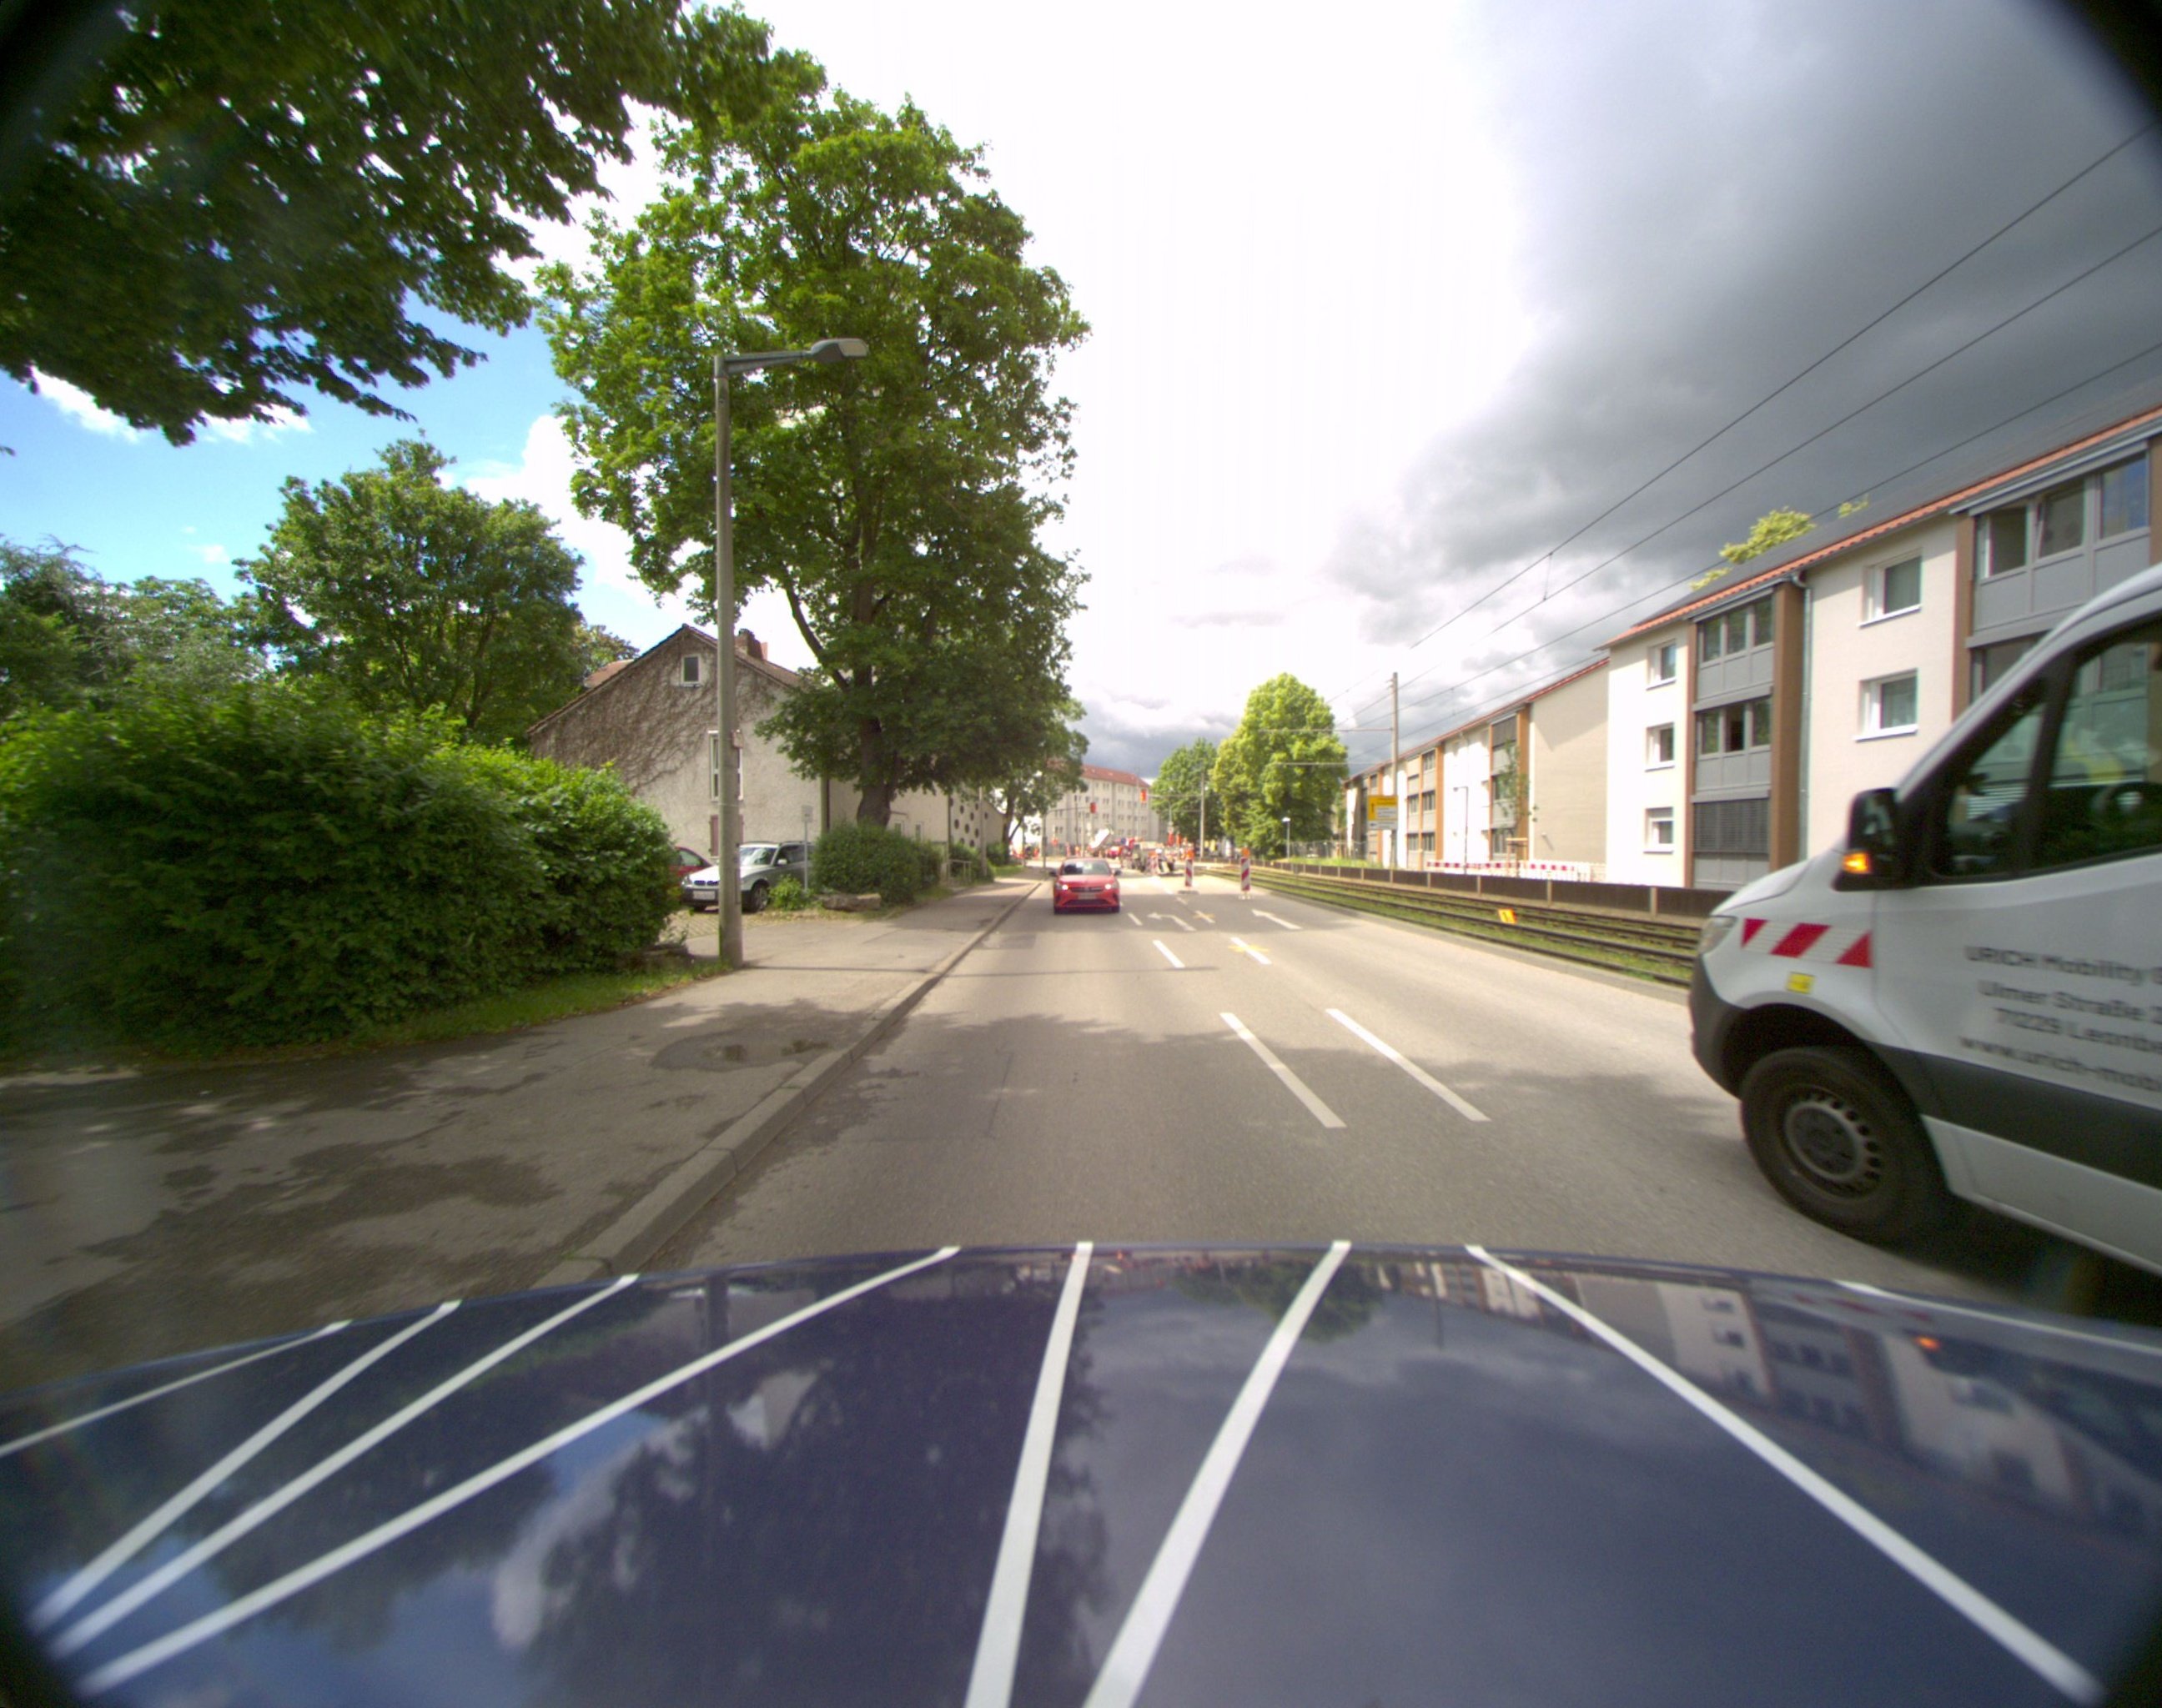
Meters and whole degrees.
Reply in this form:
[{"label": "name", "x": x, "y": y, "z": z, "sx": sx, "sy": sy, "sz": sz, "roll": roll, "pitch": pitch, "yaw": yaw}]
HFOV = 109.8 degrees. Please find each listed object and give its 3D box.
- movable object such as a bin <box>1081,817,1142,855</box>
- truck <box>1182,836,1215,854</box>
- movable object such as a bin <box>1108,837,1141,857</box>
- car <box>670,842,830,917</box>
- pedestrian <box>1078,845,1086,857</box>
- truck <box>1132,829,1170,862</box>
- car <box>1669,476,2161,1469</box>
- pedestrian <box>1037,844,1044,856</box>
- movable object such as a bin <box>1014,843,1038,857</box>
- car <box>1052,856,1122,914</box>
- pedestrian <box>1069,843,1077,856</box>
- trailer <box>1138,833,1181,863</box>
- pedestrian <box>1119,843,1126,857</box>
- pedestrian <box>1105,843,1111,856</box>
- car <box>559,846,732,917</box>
[{"label": "movable object such as a bin", "x": 4.624, "y": -2.561, "z": 112.219, "sx": 9.053, "sy": 5.453, "sz": 2.813, "roll": 0, "pitch": 1, "yaw": -34}, {"label": "truck", "x": 16.359, "y": -1.251, "z": 105.771, "sx": 2.412, "sy": 2.553, "sz": 5.594, "roll": 1, "pitch": 1, "yaw": 32}, {"label": "movable object such as a bin", "x": 6.160, "y": -1.049, "z": 106.859, "sx": 2.110, "sy": 2.654, "sz": 5.598, "roll": 1, "pitch": 2, "yaw": 33}, {"label": "car", "x": -8.099, "y": 0.546, "z": 19.032, "sx": 1.815, "sy": 1.640, "sz": 4.002, "roll": 1, "pitch": 1, "yaw": 9}, {"label": "pedestrian", "x": 0.149, "y": -0.444, "z": 114.878, "sx": 0.872, "sy": 1.813, "sz": 1.098, "roll": 1, "pitch": 1, "yaw": 27}, {"label": "truck", "x": 6.085, "y": -0.733, "z": 66.893, "sx": 2.669, "sy": 2.709, "sz": 6.394, "roll": -1, "pitch": 1, "yaw": -1}, {"label": "car", "x": 3.581, "y": 0.302, "z": 0.260, "sx": 1.998, "sy": 2.417, "sz": 6.321, "roll": -1, "pitch": 1, "yaw": 1}, {"label": "pedestrian", "x": -5.873, "y": -0.596, "z": 109.732, "sx": 0.767, "sy": 1.829, "sz": 0.785, "roll": 1, "pitch": 1, "yaw": 26}, {"label": "movable object such as a bin", "x": -8.058, "y": -0.556, "z": 111.269, "sx": 2.959, "sy": 2.002, "sz": 2.004, "roll": 1, "pitch": 1, "yaw": 37}, {"label": "car", "x": 0.235, "y": 0.817, "z": 21.677, "sx": 1.769, "sy": 1.425, "sz": 3.839, "roll": -2, "pitch": 0, "yaw": 2}, {"label": "pedestrian", "x": -1.220, "y": -0.660, "z": 116.018, "sx": 0.882, "sy": 1.897, "sz": 0.665, "roll": -1, "pitch": 2, "yaw": -26}, {"label": "trailer", "x": 6.171, "y": -0.460, "z": 60.558, "sx": 2.669, "sy": 2.201, "sz": 6.246, "roll": -1, "pitch": 0, "yaw": -1}, {"label": "pedestrian", "x": 5.451, "y": -0.576, "z": 99.815, "sx": 0.796, "sy": 1.822, "sz": 0.970, "roll": -1, "pitch": 2, "yaw": -9}, {"label": "pedestrian", "x": 3.900, "y": -0.665, "z": 108.430, "sx": 0.611, "sy": 1.778, "sz": 0.583, "roll": -1, "pitch": 0, "yaw": 31}, {"label": "car", "x": -10.664, "y": 0.590, "z": 18.981, "sx": 1.815, "sy": 1.574, "sz": 4.001, "roll": 1, "pitch": 1, "yaw": 4}]
